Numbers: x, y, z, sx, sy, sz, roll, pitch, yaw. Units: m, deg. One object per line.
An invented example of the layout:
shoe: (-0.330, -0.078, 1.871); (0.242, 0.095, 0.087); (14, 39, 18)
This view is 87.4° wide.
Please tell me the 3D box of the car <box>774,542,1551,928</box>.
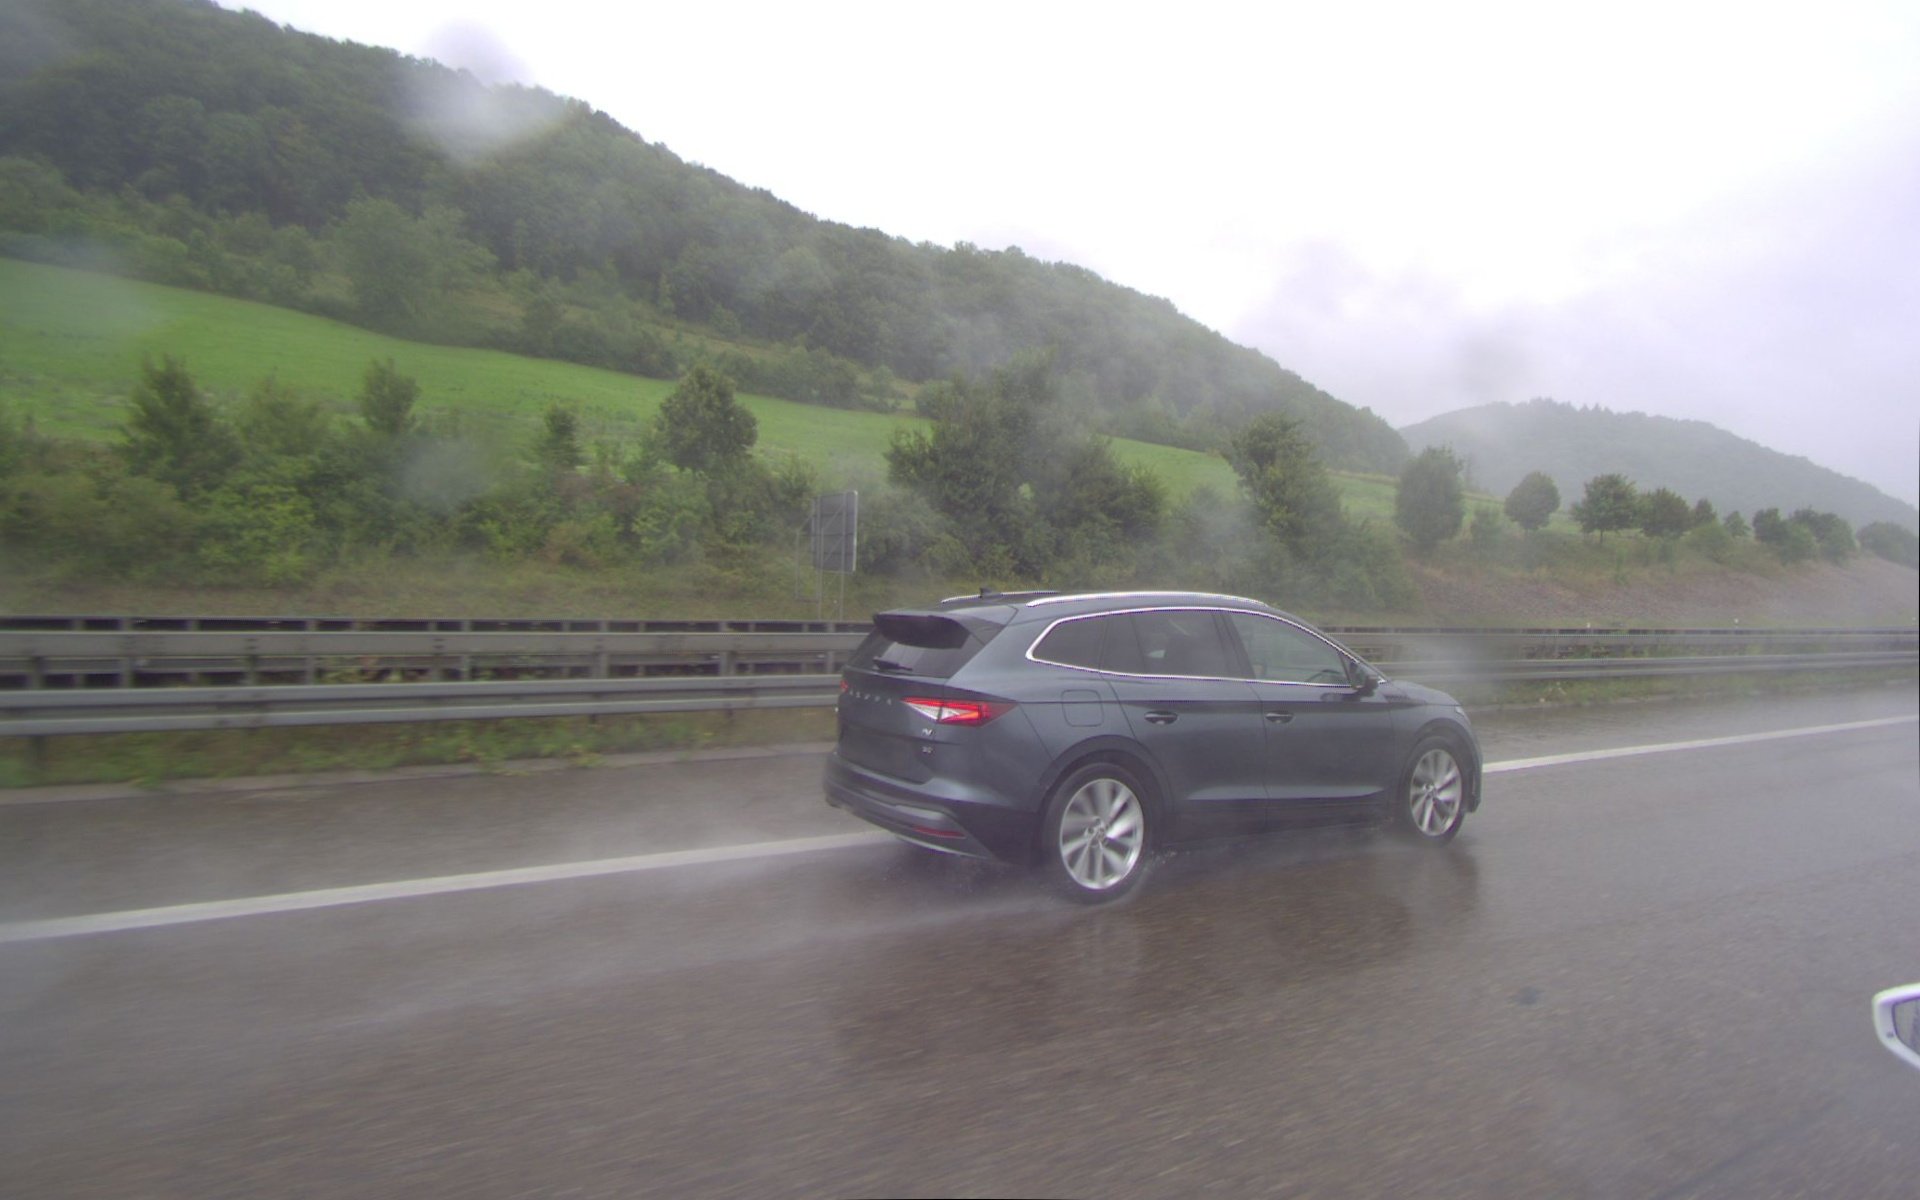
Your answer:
car: (1.460, 0.705, 6.535); (4.851, 1.705, 1.984); (3, -2, -30)
